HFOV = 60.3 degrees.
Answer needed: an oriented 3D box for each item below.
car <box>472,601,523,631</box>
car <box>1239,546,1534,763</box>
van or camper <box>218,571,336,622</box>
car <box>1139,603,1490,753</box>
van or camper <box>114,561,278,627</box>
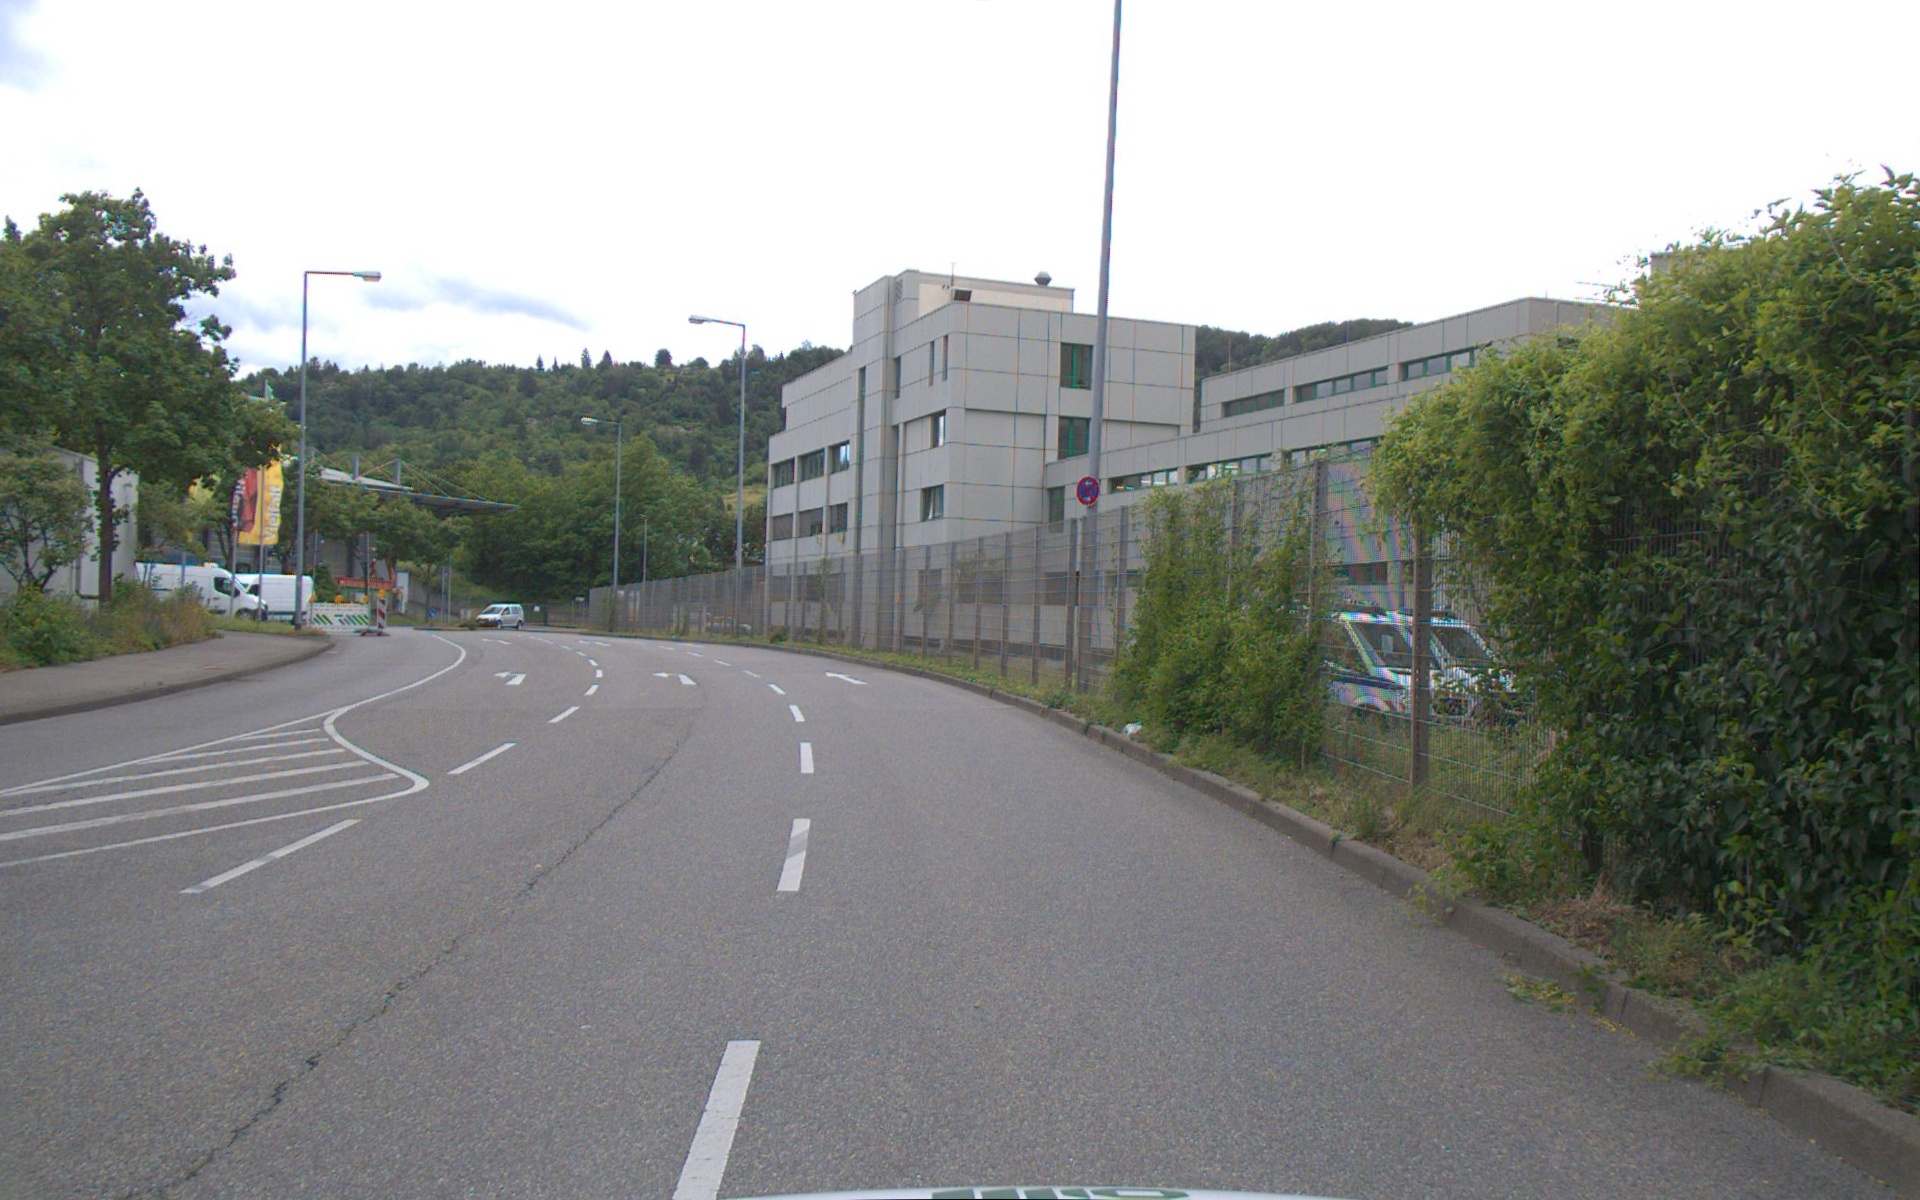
[{"bbox_3d":[-32.987,1.148,117.969,1.951,2.049,4.134,2,-1,7],"label":"car"},{"bbox_3d":[4.567,0.598,18.516,1.953,2.049,4.844,2,-2,-1],"label":"car"},{"bbox_3d":[-35.579,-0.126,86.427,1.966,2.367,6.657,1,-2,15],"label":"van or camper"},{"bbox_3d":[5.989,1.255,28.802,1.980,2.302,6.084,3,-2,-38],"label":"car"},{"bbox_3d":[-32.268,-0.208,70.083,5.894,2.286,2.383,5,-3,-19],"label":"van or camper"}]
